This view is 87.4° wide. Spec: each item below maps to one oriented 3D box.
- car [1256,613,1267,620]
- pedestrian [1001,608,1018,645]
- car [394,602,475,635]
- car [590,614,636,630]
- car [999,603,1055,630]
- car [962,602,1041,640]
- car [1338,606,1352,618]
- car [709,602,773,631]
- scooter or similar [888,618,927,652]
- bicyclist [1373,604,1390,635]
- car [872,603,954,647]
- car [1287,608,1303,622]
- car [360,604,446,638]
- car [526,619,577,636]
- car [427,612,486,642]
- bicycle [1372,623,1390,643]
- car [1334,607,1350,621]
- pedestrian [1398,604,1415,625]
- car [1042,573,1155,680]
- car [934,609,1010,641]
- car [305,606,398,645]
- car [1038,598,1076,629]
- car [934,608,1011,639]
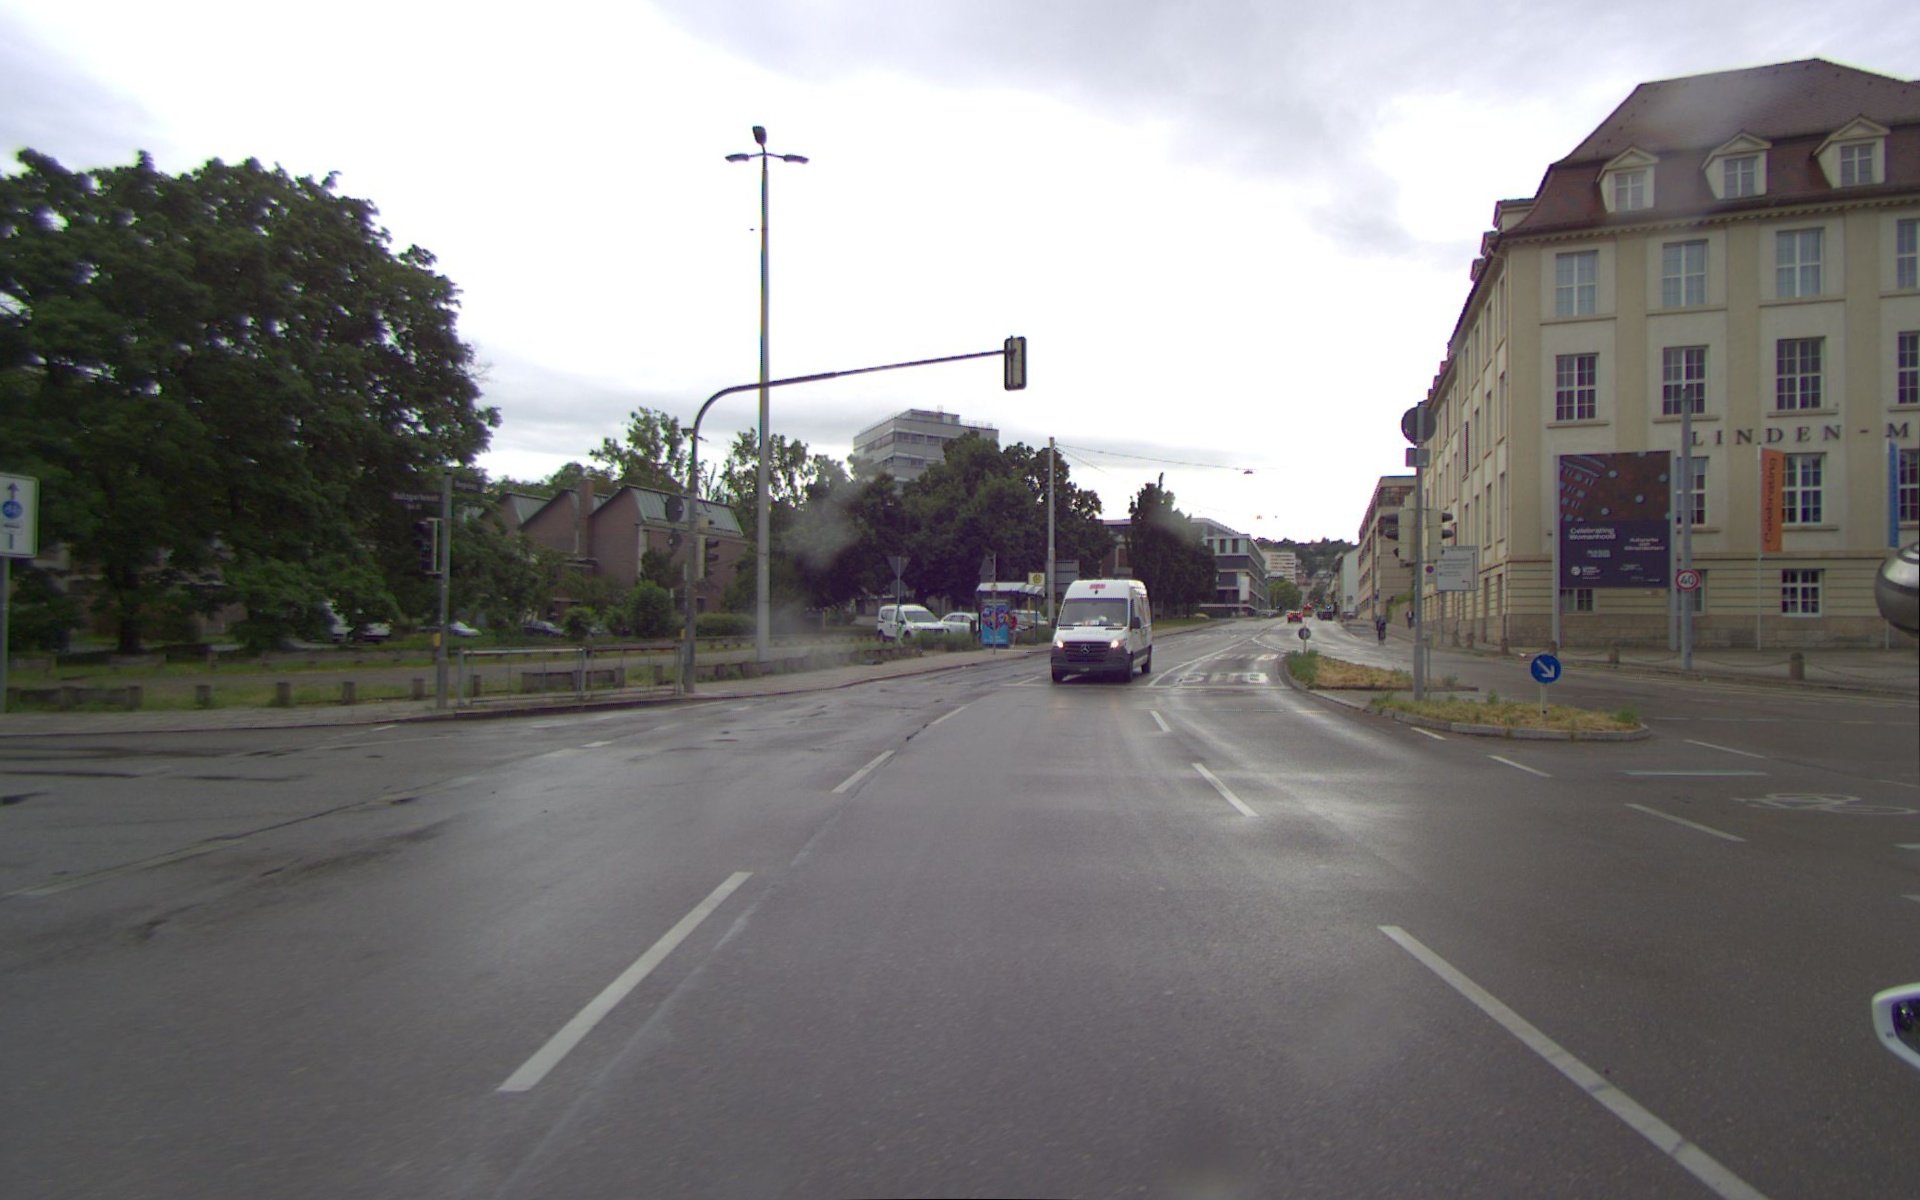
[{"bbox_3d":[60.122,3.237,200.392,1.809,1.252,3.413,2,2,23],"label":"car"},{"bbox_3d":[2.204,1.197,44.698,0.603,1.616,0.507,1,1,-17],"label":"pedestrian"},{"bbox_3d":[-36.179,1.253,69.160,4.980,2.102,2.287,2,1,22],"label":"car"},{"bbox_3d":[-29.479,1.843,85.367,3.486,1.158,1.592,2,1,20],"label":"car"},{"bbox_3d":[3.884,0.971,59.116,1.826,1.461,4.056,1,0,-20],"label":"car"},{"bbox_3d":[2.137,1.071,52.806,3.945,1.792,1.823,2,1,44],"label":"car"},{"bbox_3d":[57.310,1.758,149.643,1.809,1.581,3.999,2,2,21],"label":"car"},{"bbox_3d":[-22.839,1.721,105.271,3.528,2.855,6.464,2,0,21],"label":"car"},{"bbox_3d":[-1.851,1.235,35.585,1.240,1.183,0.547,1,1,-33],"label":"scooter or similar"},{"bbox_3d":[23.455,1.088,55.905,0.688,1.654,1.129,2,1,14],"label":"bicyclist"},{"bbox_3d":[-2.100,1.053,43.396,1.811,1.791,4.473,1,-1,-28],"label":"car"},{"bbox_3d":[42.692,1.909,128.017,1.861,1.647,3.645,2,2,20],"label":"car"},{"bbox_3d":[-36.747,1.344,66.310,4.979,2.049,2.288,2,1,21],"label":"car"},{"bbox_3d":[-31.701,2.135,78.005,3.486,1.158,1.592,2,1,20],"label":"car"},{"bbox_3d":[-37.268,1.954,74.307,3.926,2.040,1.997,2,1,28],"label":"car"},{"bbox_3d":[23.404,1.818,55.876,0.635,1.070,1.822,1,0,13],"label":"bicycle"},{"bbox_3d":[50.074,1.792,131.554,1.809,1.581,3.997,2,2,23],"label":"car"},{"bbox_3d":[37.942,1.225,85.369,1.220,1.812,1.594,-2,-1,23],"label":"pedestrian"},{"bbox_3d":[3.866,0.681,26.975,2.024,2.527,6.040,-1,-1,17],"label":"car"},{"bbox_3d":[0.550,1.225,50.653,1.817,1.434,3.958,1,1,-36],"label":"car"},{"bbox_3d":[-37.621,1.538,62.113,4.979,2.208,2.288,2,1,21],"label":"car"},{"bbox_3d":[5.900,0.854,61.322,1.818,1.765,4.075,1,-1,-1],"label":"car"},{"bbox_3d":[0.577,1.177,50.592,1.836,1.461,4.034,1,-2,-36],"label":"car"}]
